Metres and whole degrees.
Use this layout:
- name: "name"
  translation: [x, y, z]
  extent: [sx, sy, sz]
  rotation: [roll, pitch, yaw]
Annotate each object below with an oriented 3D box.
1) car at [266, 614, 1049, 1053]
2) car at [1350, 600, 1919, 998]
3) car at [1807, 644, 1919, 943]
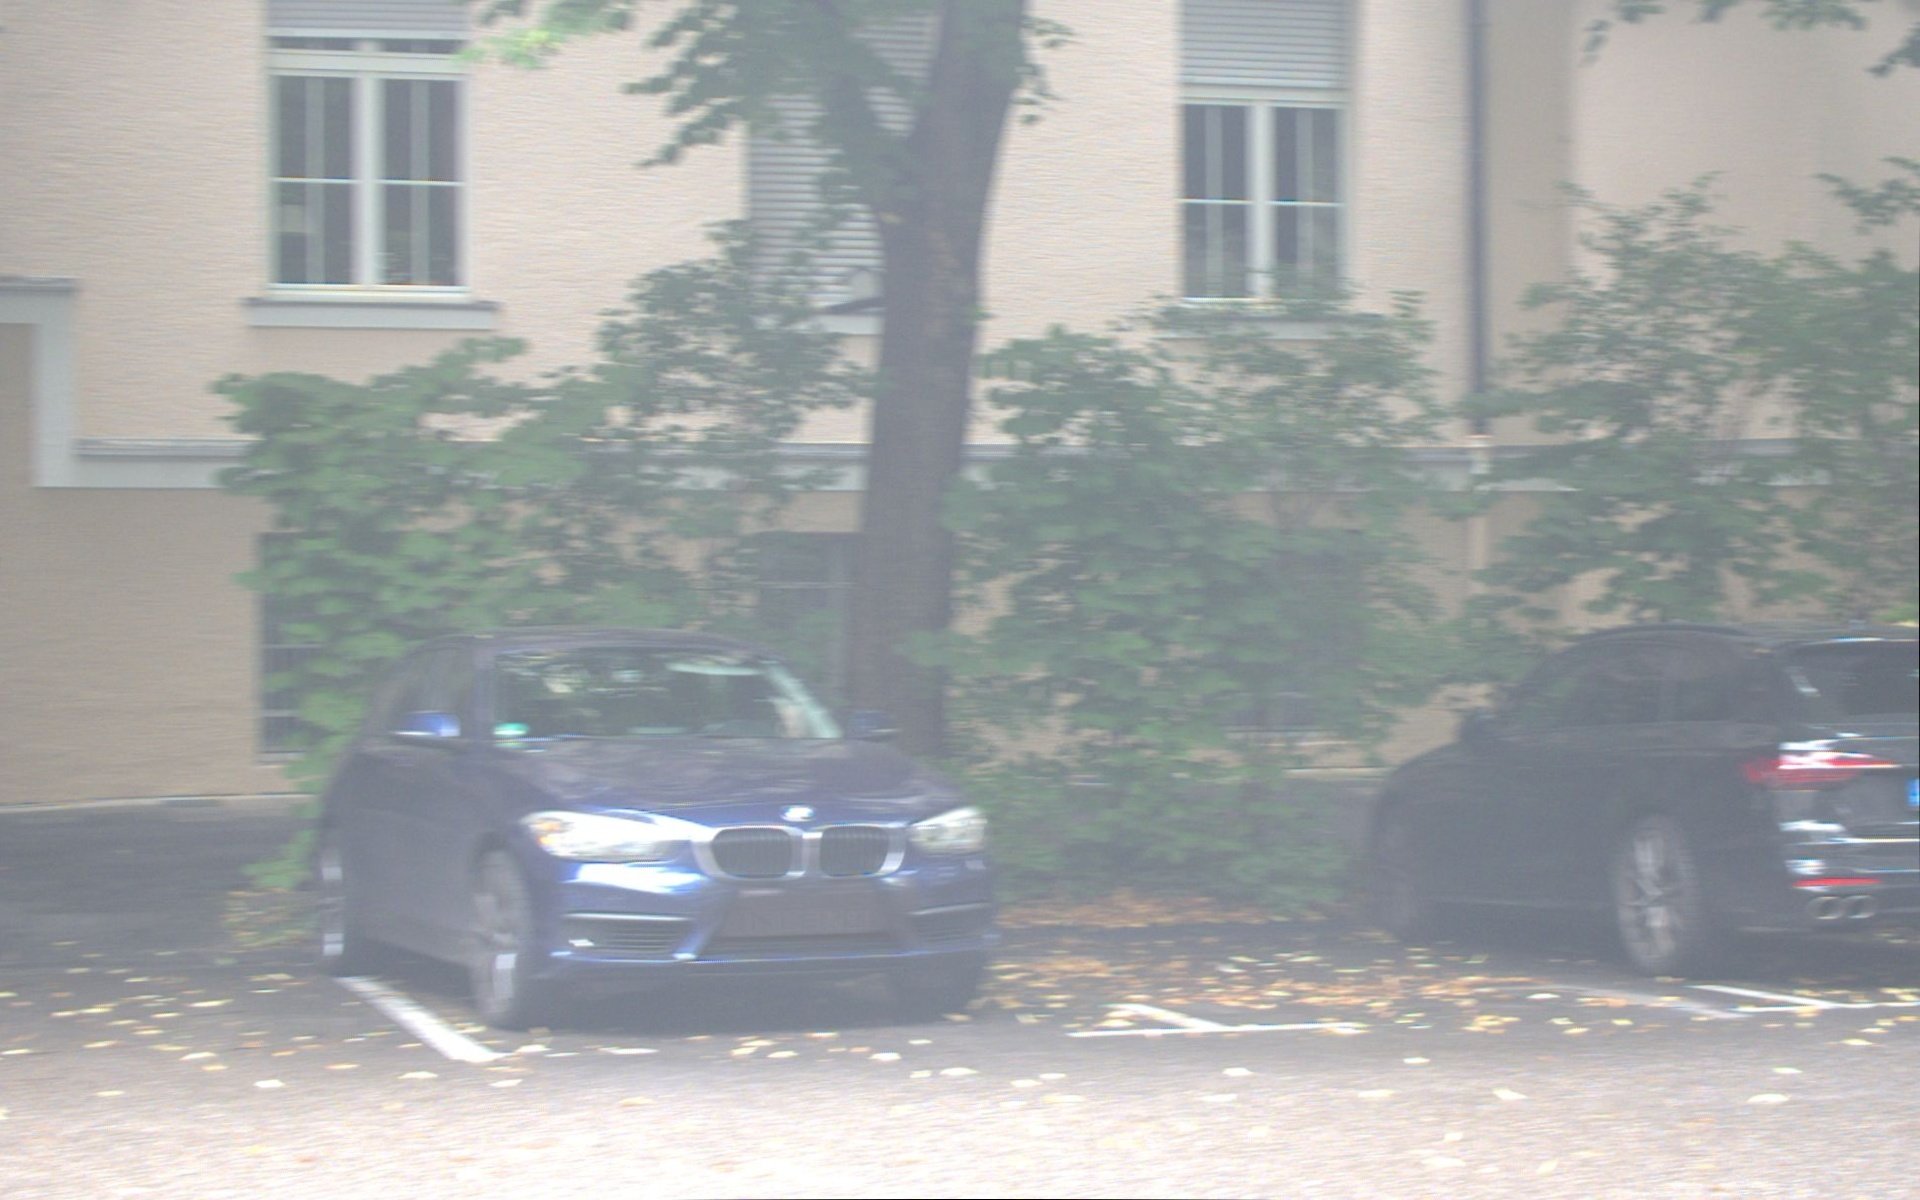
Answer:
- name: "car"
  translation: [-1.358, 0.767, 13.241]
  extent: [1.838, 1.378, 4.343]
  rotation: [0, -1, -22]
- name: "car"
  translation: [3.271, 0.784, 14.577]
  extent: [1.857, 1.421, 4.164]
  rotation: [0, -2, -14]
- name: "car"
  translation: [5.674, 0.863, 15.746]
  extent: [1.827, 1.421, 3.750]
  rotation: [0, -3, -16]
